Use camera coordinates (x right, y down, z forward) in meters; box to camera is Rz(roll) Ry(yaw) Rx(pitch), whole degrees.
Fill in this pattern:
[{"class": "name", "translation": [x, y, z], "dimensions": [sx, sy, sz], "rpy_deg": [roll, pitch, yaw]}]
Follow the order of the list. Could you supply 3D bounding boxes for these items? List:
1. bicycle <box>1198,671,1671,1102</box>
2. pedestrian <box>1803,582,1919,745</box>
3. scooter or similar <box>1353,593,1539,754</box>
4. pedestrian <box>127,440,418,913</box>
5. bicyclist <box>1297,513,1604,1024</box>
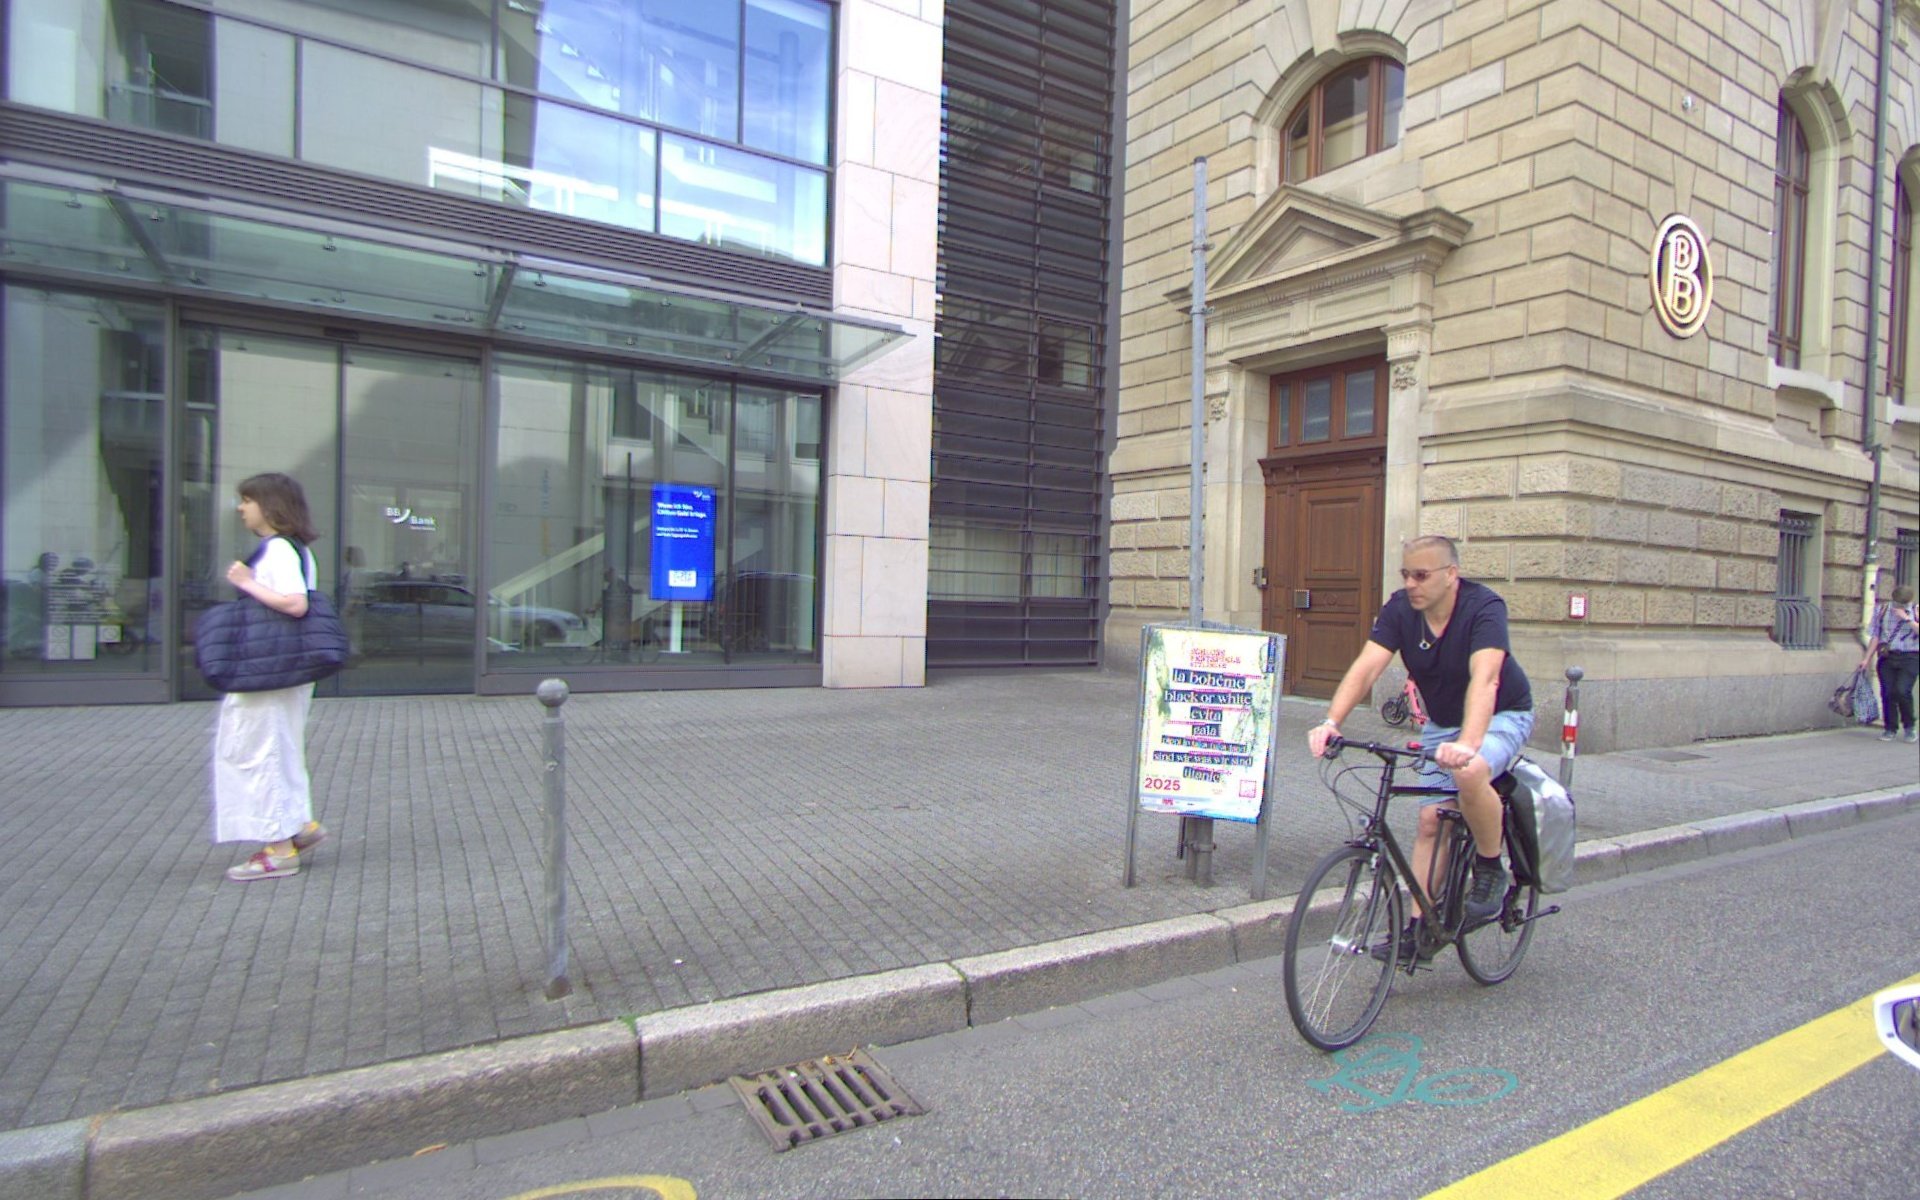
[{"class": "bicycle", "translation": [1.841, 0.917, 3.807], "dimensions": [1.930, 1.257, 0.644], "rpy_deg": [2, -2, -30]}, {"class": "pedestrian", "translation": [10.573, 0.696, 11.566], "dimensions": [0.809, 1.743, 1.021], "rpy_deg": [2, 2, -30]}, {"class": "scooter or similar", "translation": [4.557, 0.640, 9.511], "dimensions": [0.580, 1.328, 1.439], "rpy_deg": [0, 4, -30]}, {"class": "pedestrian", "translation": [-2.847, 0.270, 4.257], "dimensions": [0.900, 1.731, 0.872], "rpy_deg": [2, 4, -31]}, {"class": "bicyclist", "translation": [1.857, 0.572, 3.828], "dimensions": [0.928, 1.675, 0.640], "rpy_deg": [2, -2, -30]}]
